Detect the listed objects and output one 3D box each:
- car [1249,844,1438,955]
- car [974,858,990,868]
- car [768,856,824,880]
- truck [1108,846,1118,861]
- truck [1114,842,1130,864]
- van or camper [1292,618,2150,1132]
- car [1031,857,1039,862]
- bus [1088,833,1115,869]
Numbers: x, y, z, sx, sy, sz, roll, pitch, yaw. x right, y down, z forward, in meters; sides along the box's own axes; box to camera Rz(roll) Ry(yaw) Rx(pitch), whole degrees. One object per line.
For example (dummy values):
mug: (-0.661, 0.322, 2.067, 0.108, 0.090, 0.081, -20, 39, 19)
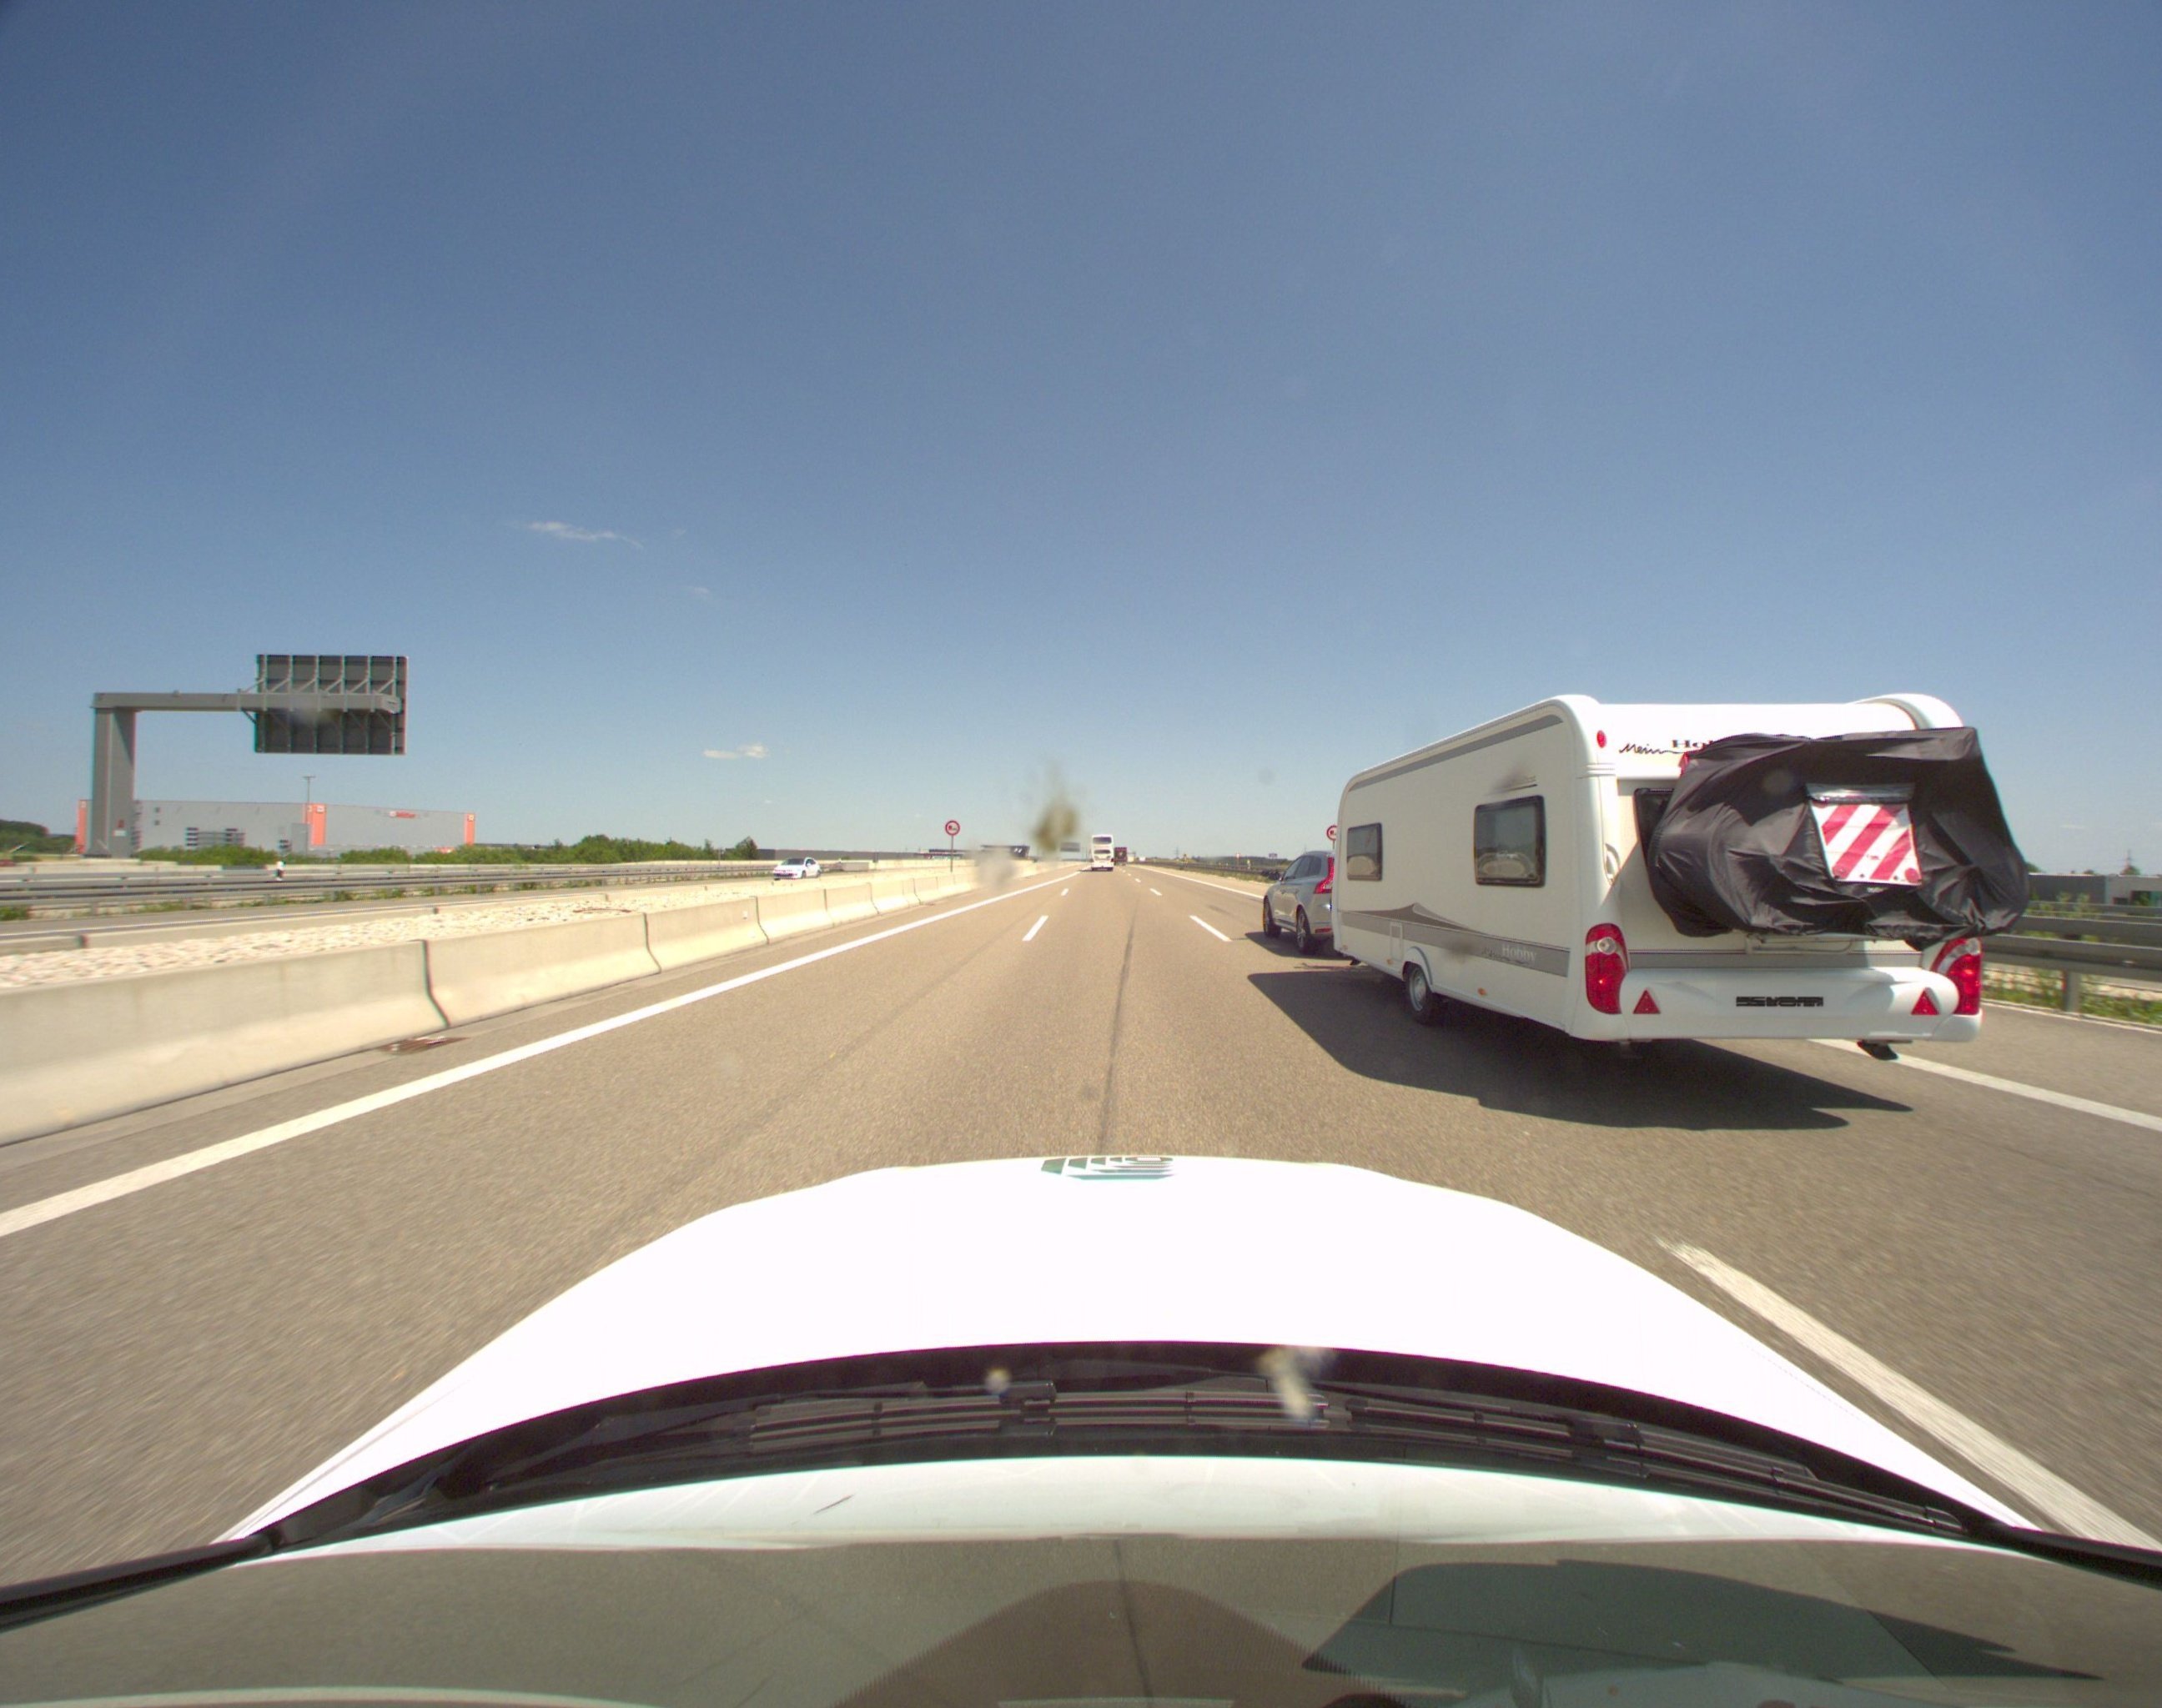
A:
car: (4.356, 0.673, 14.387, 1.873, 1.623, 4.905, 0, 0, 1)
car: (-15.424, 1.384, 127.130, 1.726, 1.536, 4.550, 0, 0, 2)
car: (-17.580, 0.855, 50.487, 1.803, 1.435, 4.443, 0, 0, 2)
truck: (8.306, -0.194, 213.933, 2.429, 3.789, 6.493, 0, 0, 0)
truck: (9.301, -0.126, 184.375, 3.365, 4.465, 13.573, 0, -3, 3)
van or camper: (4.240, 0.095, 8.028, 2.503, 2.593, 7.820, 0, 0, 2)
car: (-13.041, 1.604, 229.522, 1.904, 1.420, 4.551, 0, 0, 1)
bus: (2.286, -0.314, 94.195, 2.970, 3.975, 9.104, 0, 0, 0)
